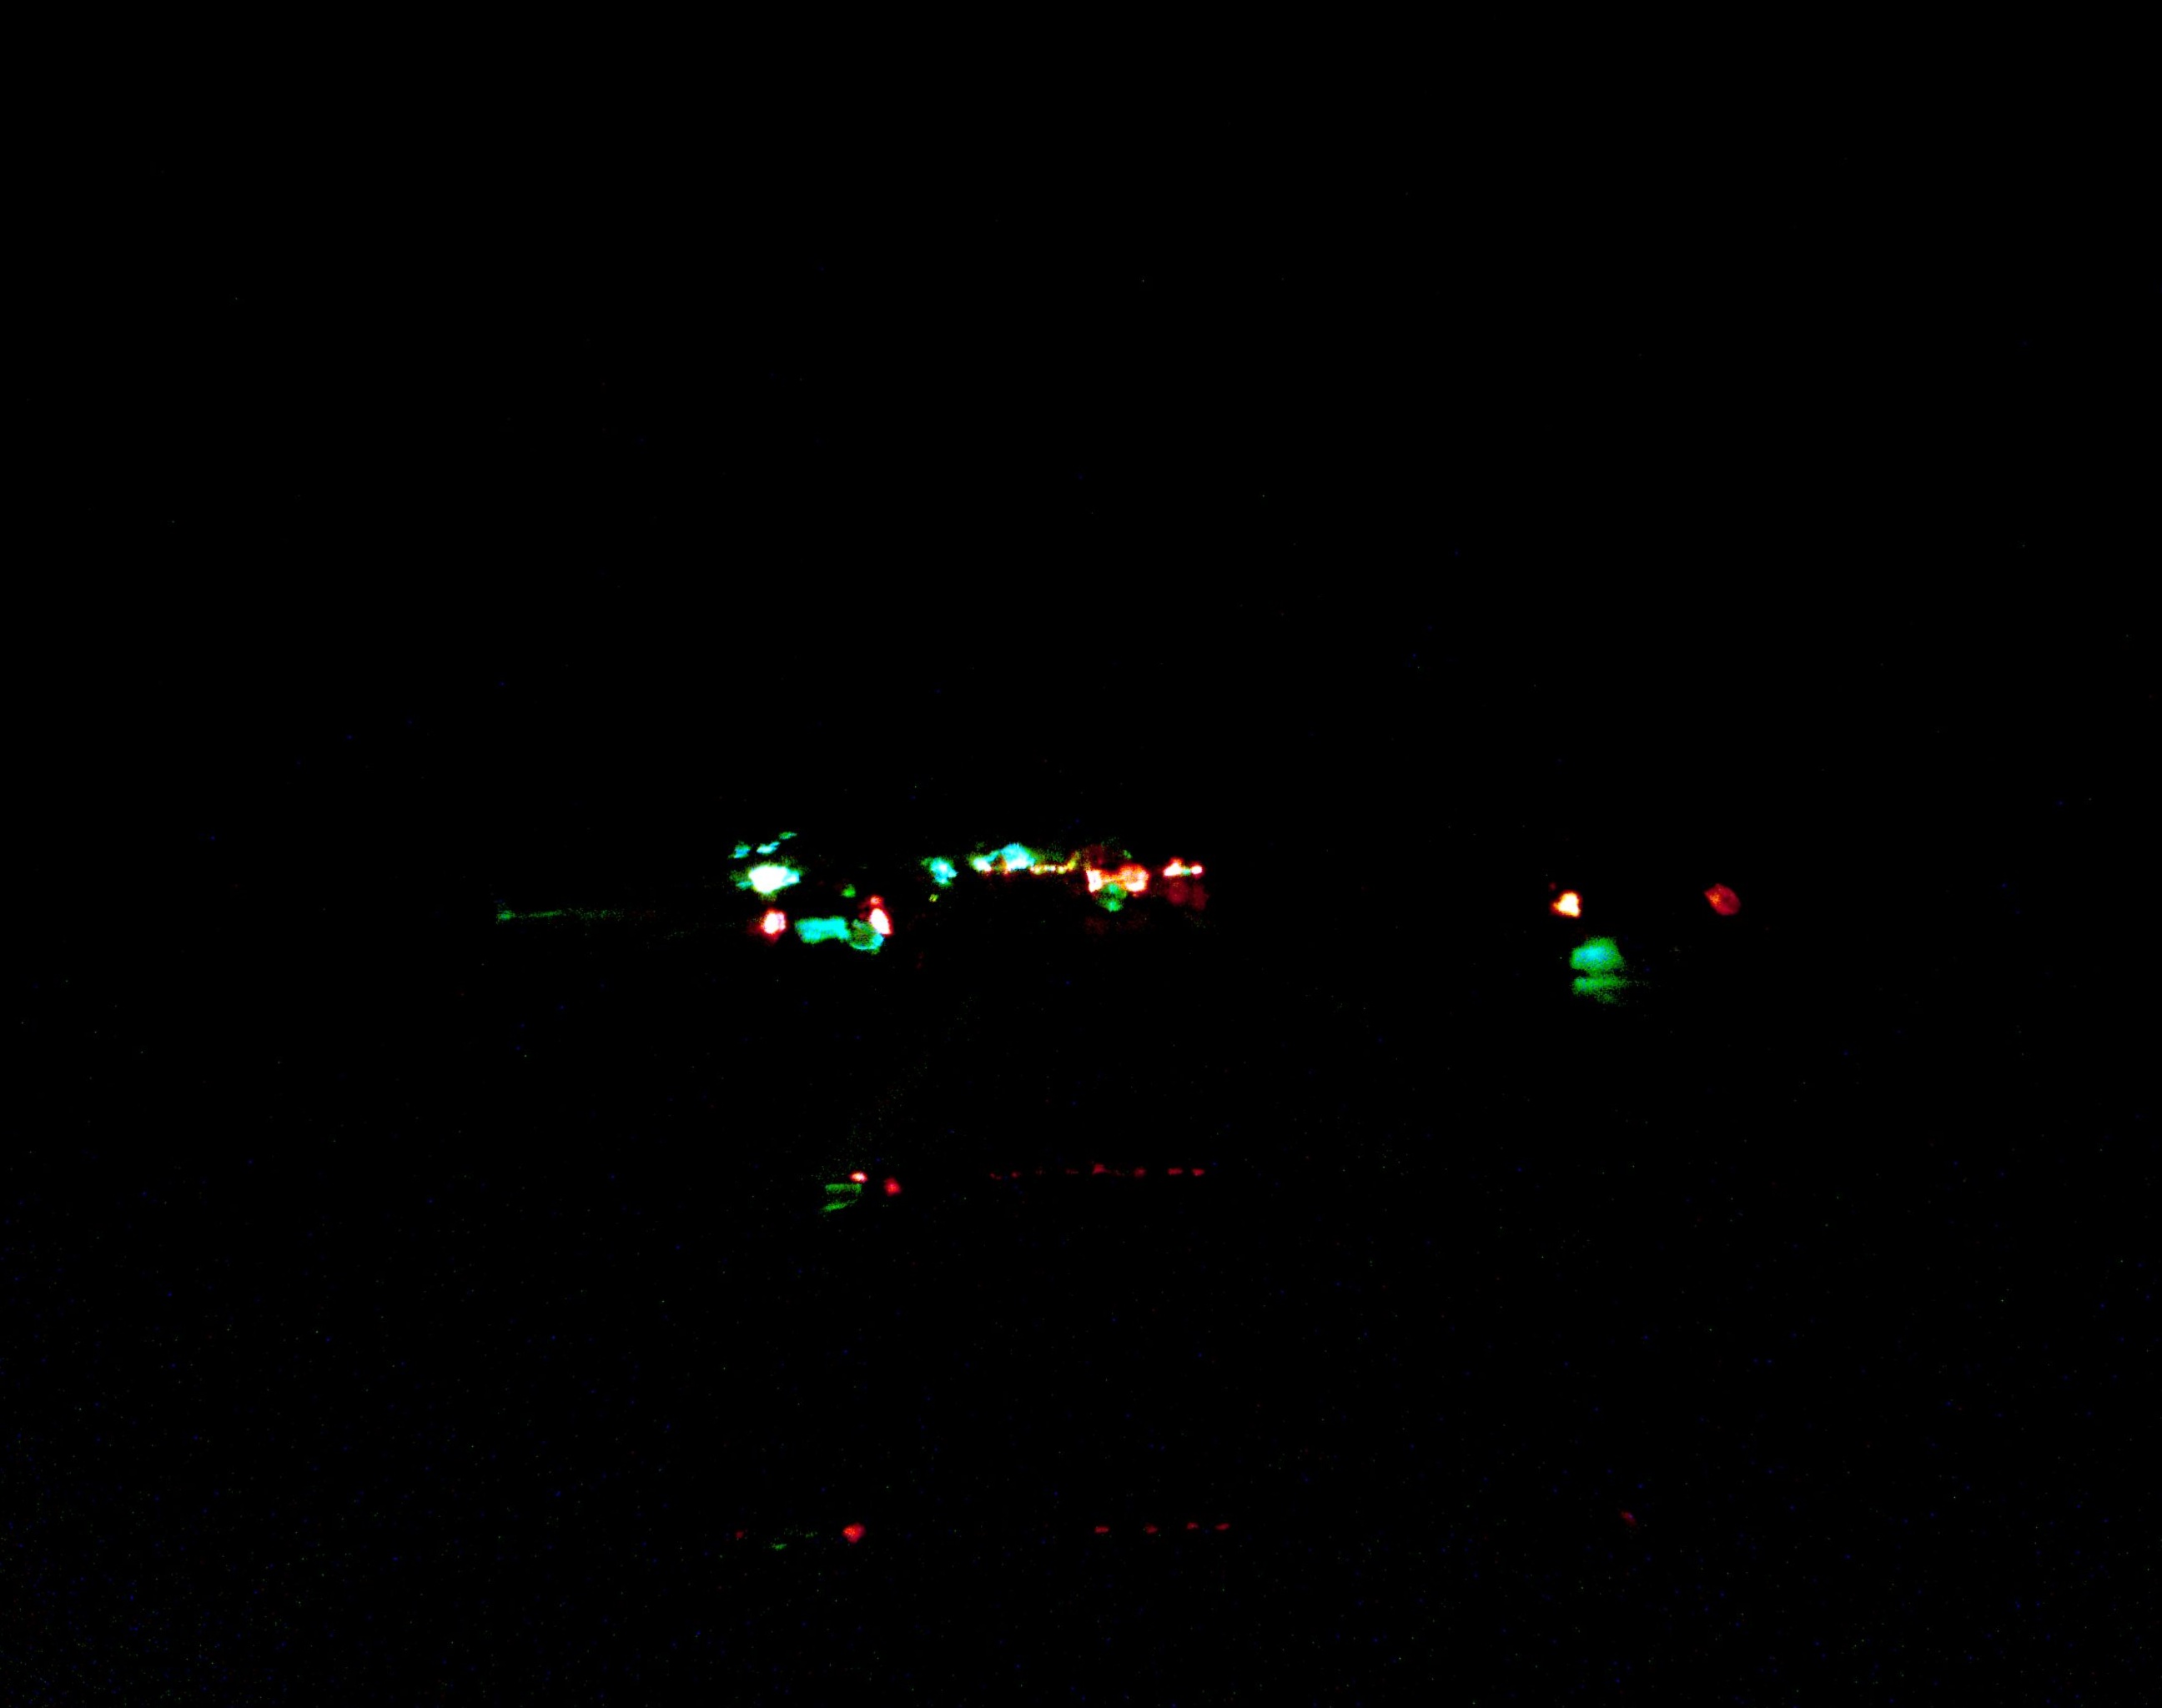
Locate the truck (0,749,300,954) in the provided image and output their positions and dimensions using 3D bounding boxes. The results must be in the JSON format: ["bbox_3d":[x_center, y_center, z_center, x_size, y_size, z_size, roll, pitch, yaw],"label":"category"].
[{"bbox_3d":[-31.173,-0.029,24.488,3.230,5.592,12.787,-1,-1,-1],"label":"truck"}]

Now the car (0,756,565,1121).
[{"bbox_3d":[-7.279,0.512,6.941,2.116,2.104,5.629,-1,0,0],"label":"car"}]

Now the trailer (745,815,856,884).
[{"bbox_3d":[-22.725,-0.273,67.380,3.775,5.028,14.802,-1,-1,1],"label":"trailer"}]

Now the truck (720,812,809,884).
[{"bbox_3d":[-22.778,-0.362,59.011,3.776,4.909,6.478,-1,-1,1],"label":"truck"}]

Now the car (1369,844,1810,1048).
[{"bbox_3d":[4.467,0.675,8.060,1.764,1.457,4.195,-1,0,1],"label":"car"}]

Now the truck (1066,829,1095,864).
[{"bbox_3d":[0.023,-1.144,135.935,4.237,5.444,10.890,-1,-1,2],"label":"truck"}]

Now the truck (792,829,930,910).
[{"bbox_3d":[-6.586,0.455,25.315,2.849,2.201,5.854,-1,-1,-2],"label":"truck"}]

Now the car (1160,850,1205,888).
[{"bbox_3d":[4.987,0.728,40.458,1.871,1.762,4.001,-1,-1,2],"label":"car"}]

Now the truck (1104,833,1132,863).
[{"bbox_3d":[6.455,-0.979,144.256,4.150,5.215,9.946,-1,-1,-2],"label":"truck"}]

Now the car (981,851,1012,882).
[{"bbox_3d":[-6.510,0.925,62.846,2.260,2.273,5.375,-1,-1,-5],"label":"car"}]

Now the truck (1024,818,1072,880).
[{"bbox_3d":[-2.793,-0.343,67.185,3.648,4.737,9.840,-1,-1,-3],"label":"truck"}]

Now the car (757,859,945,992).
[{"bbox_3d":[-2.956,0.824,11.369,1.653,1.431,4.240,-1,0,-4],"label":"car"}]

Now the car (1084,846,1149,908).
[{"bbox_3d":[1.045,0.626,24.413,1.759,1.689,4.002,-1,0,2],"label":"car"}]

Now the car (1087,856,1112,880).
[{"bbox_3d":[1.355,1.075,61.996,1.760,1.762,3.998,-1,-1,-1],"label":"car"}]
